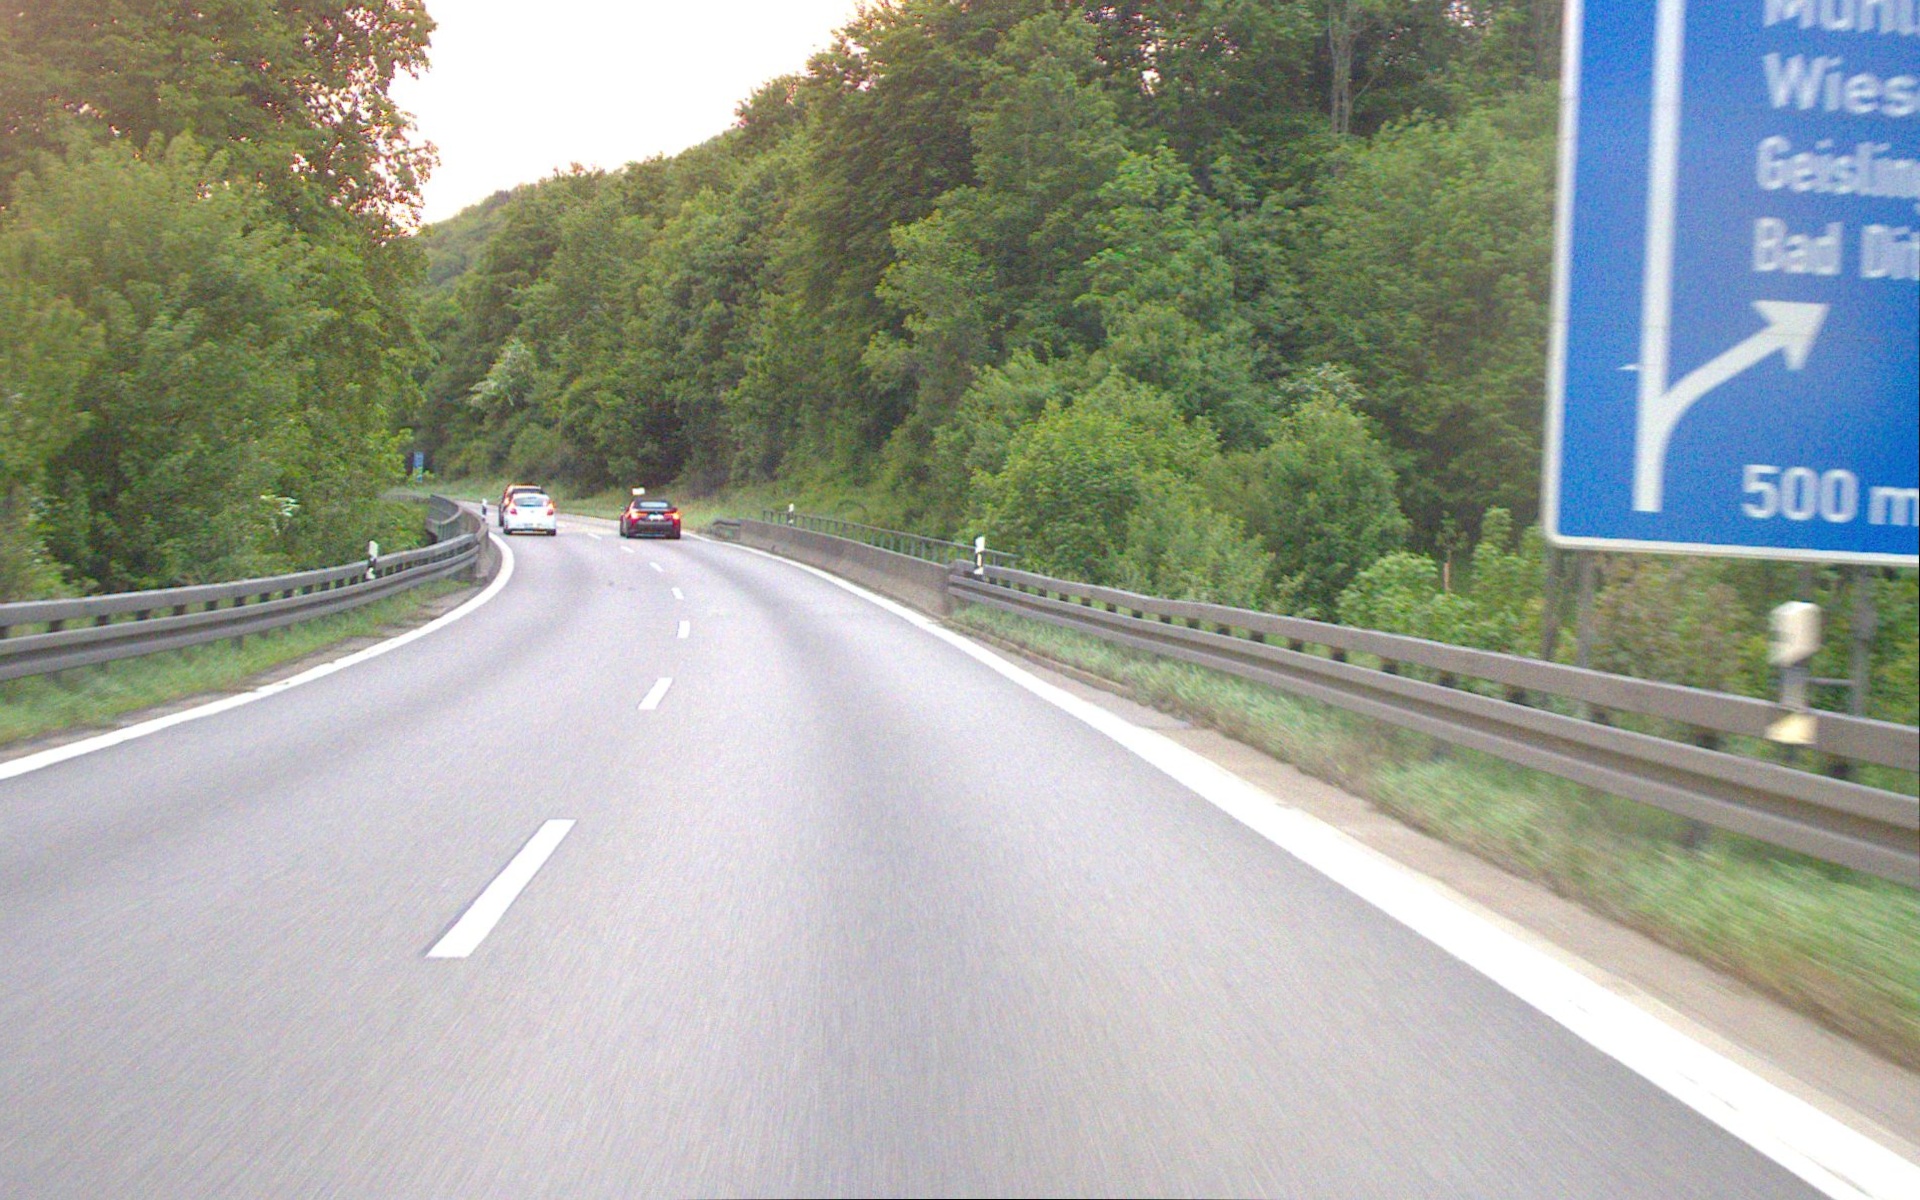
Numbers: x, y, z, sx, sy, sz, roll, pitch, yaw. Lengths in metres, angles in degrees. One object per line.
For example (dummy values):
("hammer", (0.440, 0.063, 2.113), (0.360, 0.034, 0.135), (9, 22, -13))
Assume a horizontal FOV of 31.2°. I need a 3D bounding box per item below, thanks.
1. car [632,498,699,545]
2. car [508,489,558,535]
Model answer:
("car", (-10.383, -2.746, 121.344), (1.878, 1.461, 4.000), (-3, 0, 1))
("car", (-15.222, -3.130, 122.664), (1.718, 1.496, 4.001), (1, 0, -7))
